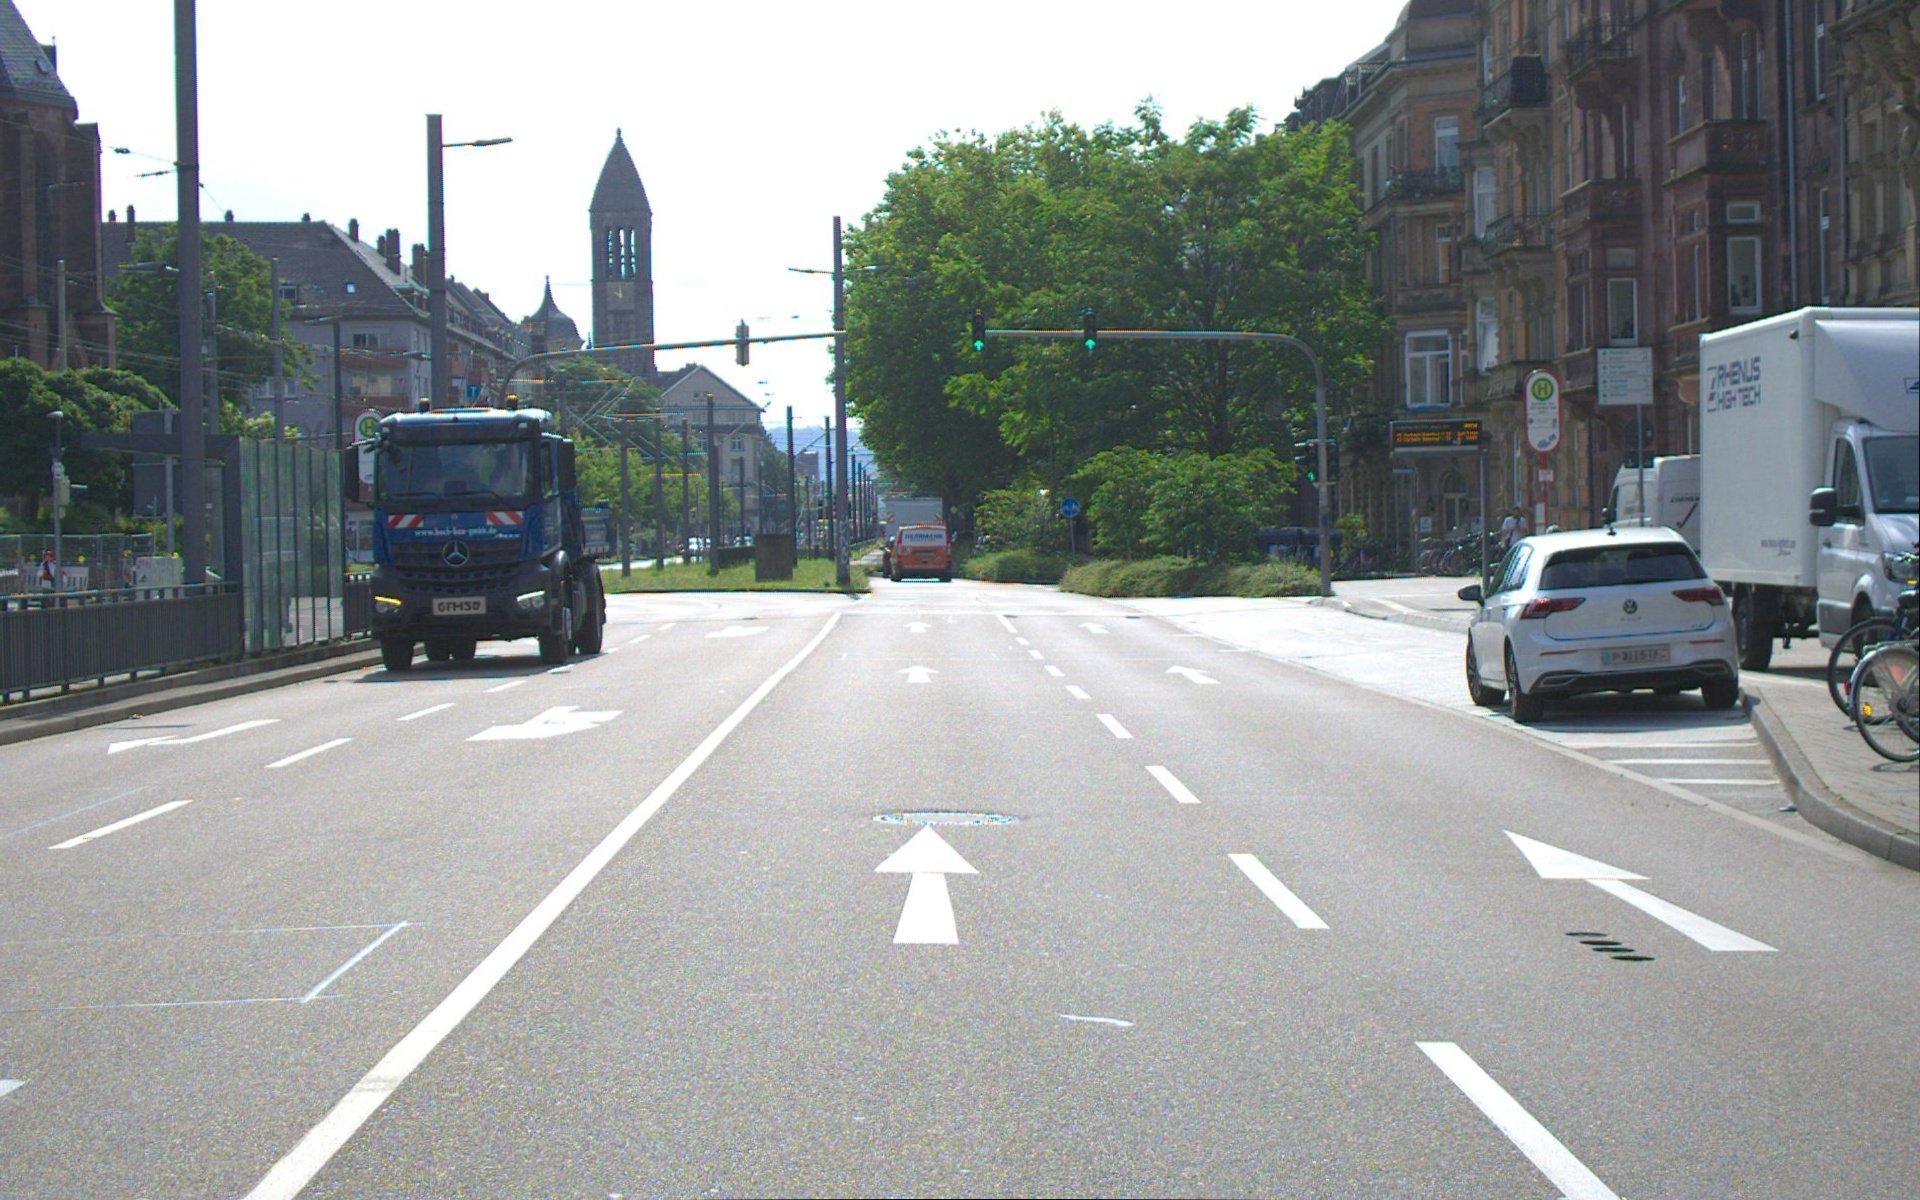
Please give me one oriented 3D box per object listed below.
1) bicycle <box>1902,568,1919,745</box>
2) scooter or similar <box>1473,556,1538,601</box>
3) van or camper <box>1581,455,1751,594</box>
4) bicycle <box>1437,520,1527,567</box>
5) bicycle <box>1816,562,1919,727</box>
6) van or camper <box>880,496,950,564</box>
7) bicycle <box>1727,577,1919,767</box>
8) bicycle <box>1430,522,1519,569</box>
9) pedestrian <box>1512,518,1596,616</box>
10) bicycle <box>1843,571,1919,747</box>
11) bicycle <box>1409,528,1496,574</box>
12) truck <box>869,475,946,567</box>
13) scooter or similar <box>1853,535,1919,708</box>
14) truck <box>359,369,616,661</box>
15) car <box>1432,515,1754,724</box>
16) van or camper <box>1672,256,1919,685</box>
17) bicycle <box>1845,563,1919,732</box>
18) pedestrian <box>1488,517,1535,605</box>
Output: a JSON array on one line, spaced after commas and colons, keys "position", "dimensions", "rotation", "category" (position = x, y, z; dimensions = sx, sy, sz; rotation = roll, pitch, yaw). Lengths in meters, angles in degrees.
[{"position": [6.744, 0.340, 21.321], "dimensions": [1.758, 1.081, 0.372], "rotation": [-1, 2, -12], "category": "bicycle"}, {"position": [13.643, -0.542, 86.011], "dimensions": [1.565, 1.094, 0.451], "rotation": [-1, 0, 3], "category": "scooter or similar"}, {"position": [13.314, -1.436, 65.184], "dimensions": [1.993, 2.465, 5.565], "rotation": [-1, 1, 0], "category": "van or camper"}, {"position": [13.532, -1.459, 89.116], "dimensions": [2.189, 1.177, 0.684], "rotation": [-1, 1, -5], "category": "bicycle"}, {"position": [6.677, 0.288, 23.121], "dimensions": [1.758, 1.081, 0.372], "rotation": [0, 2, -6], "category": "bicycle"}, {"position": [-1.515, -2.298, 114.315], "dimensions": [2.008, 1.908, 4.523], "rotation": [1, -3, -5], "category": "van or camper"}, {"position": [5.376, 0.417, 20.539], "dimensions": [1.596, 1.081, 0.372], "rotation": [-1, 2, -19], "category": "bicycle"}, {"position": [13.451, -1.420, 89.881], "dimensions": [2.189, 1.177, 0.684], "rotation": [-1, 1, -5], "category": "bicycle"}, {"position": [8.097, -0.446, 46.894], "dimensions": [0.742, 1.311, 0.821], "rotation": [1, 0, -39], "category": "pedestrian"}, {"position": [6.475, 0.357, 21.706], "dimensions": [1.758, 1.081, 0.372], "rotation": [-1, 2, -12], "category": "bicycle"}, {"position": [13.171, -1.315, 91.972], "dimensions": [2.189, 1.177, 0.684], "rotation": [-1, 1, -5], "category": "bicycle"}, {"position": [-2.230, -3.309, 145.683], "dimensions": [3.169, 3.275, 7.295], "rotation": [0, -4, -1], "category": "truck"}, {"position": [6.701, 0.145, 24.741], "dimensions": [0.369, 1.209, 1.251], "rotation": [1, 1, 8], "category": "scooter or similar"}, {"position": [-6.354, -1.163, 47.269], "dimensions": [2.463, 3.636, 7.450], "rotation": [-1, 1, 0], "category": "truck"}, {"position": [5.073, 0.142, 28.106], "dimensions": [1.791, 1.432, 4.343], "rotation": [-5, 0, 1], "category": "car"}, {"position": [8.456, -1.068, 30.495], "dimensions": [2.712, 3.319, 7.639], "rotation": [-1, 1, 1], "category": "van or camper"}, {"position": [6.729, 0.301, 22.566], "dimensions": [1.758, 1.081, 0.372], "rotation": [0, 2, -6], "category": "bicycle"}, {"position": [12.681, -0.892, 79.123], "dimensions": [0.886, 2.007, 0.996], "rotation": [1, 0, 0], "category": "pedestrian"}]
